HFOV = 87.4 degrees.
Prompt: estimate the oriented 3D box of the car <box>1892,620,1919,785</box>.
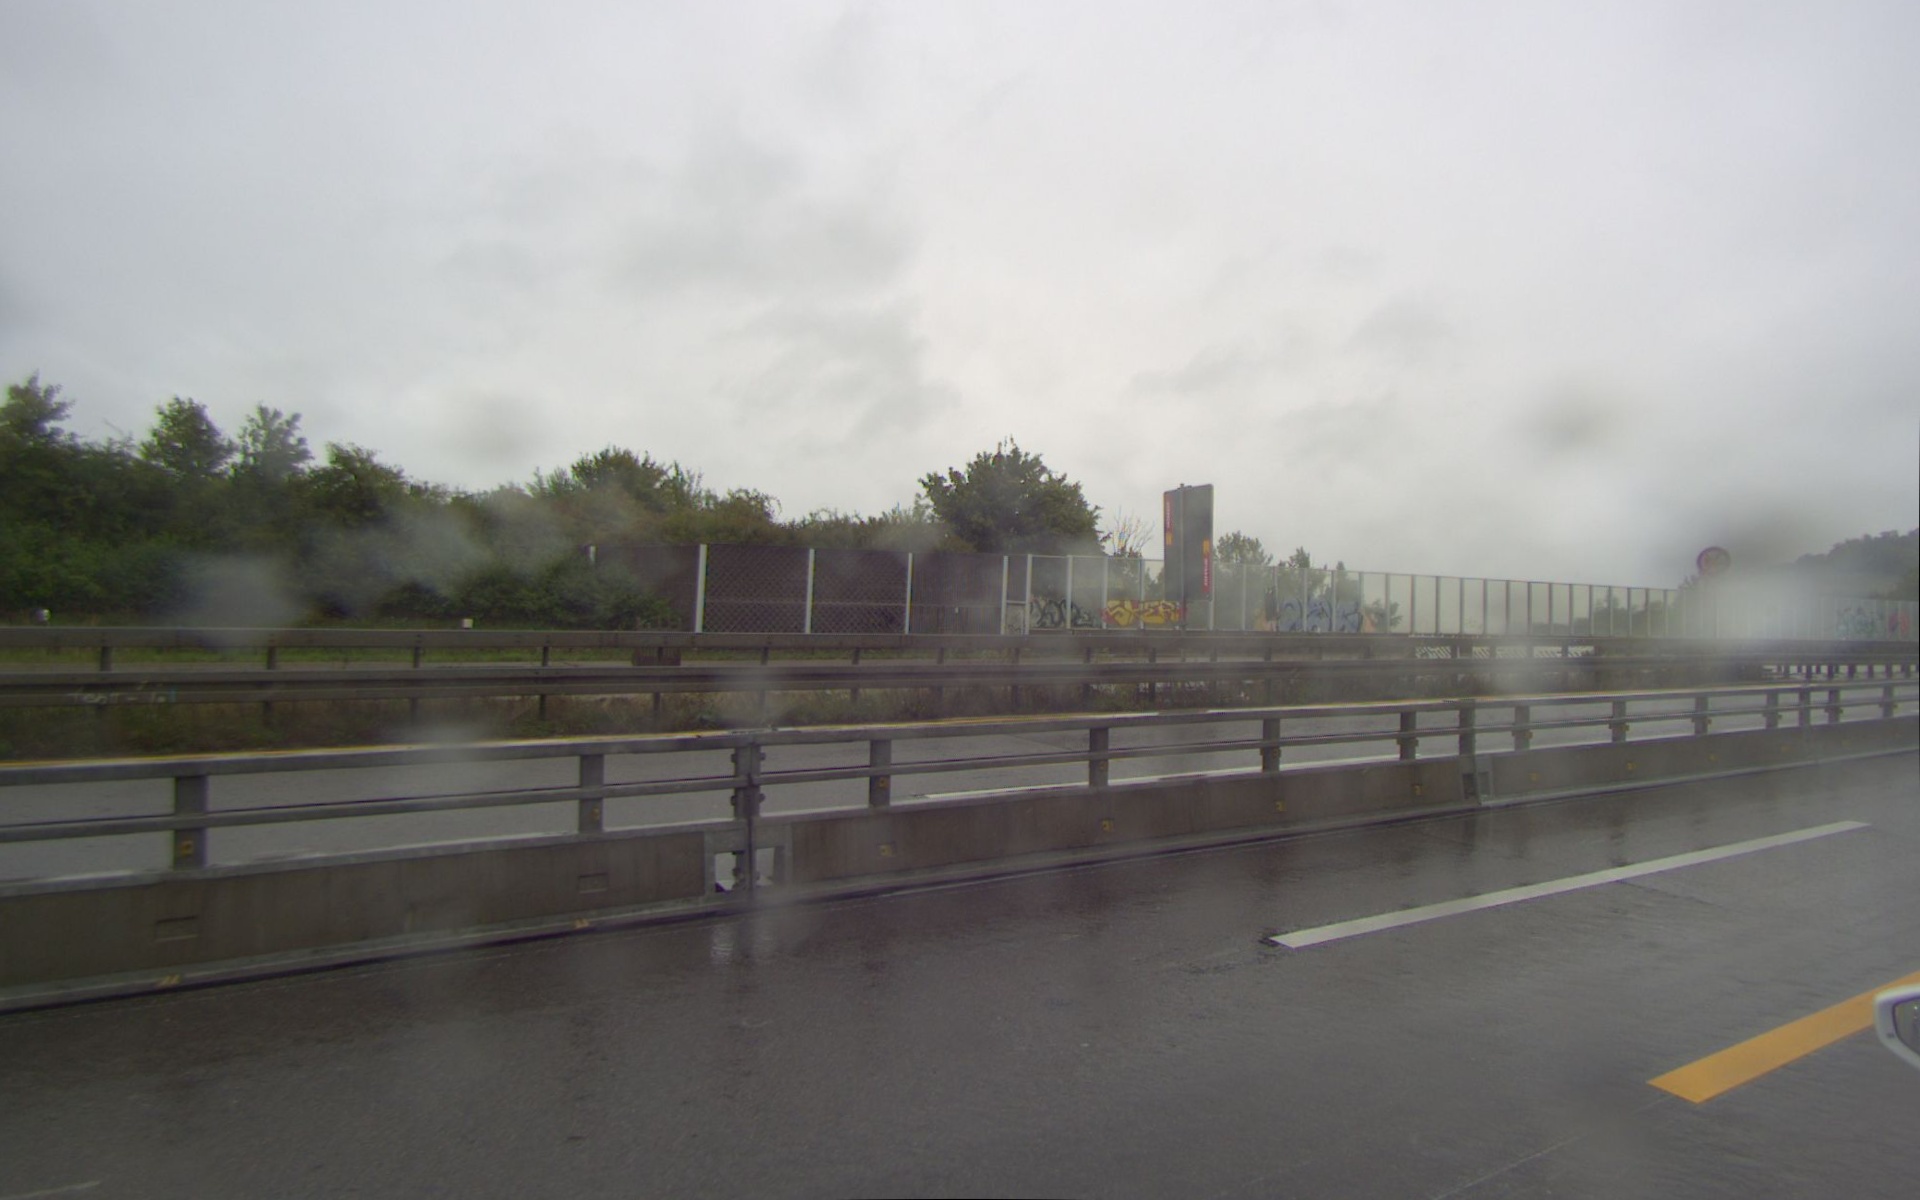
[{"bbox_3d":[11.279,1.029,9.782,4.577,1.517,1.984,2,-1,-30],"label":"car"}]
